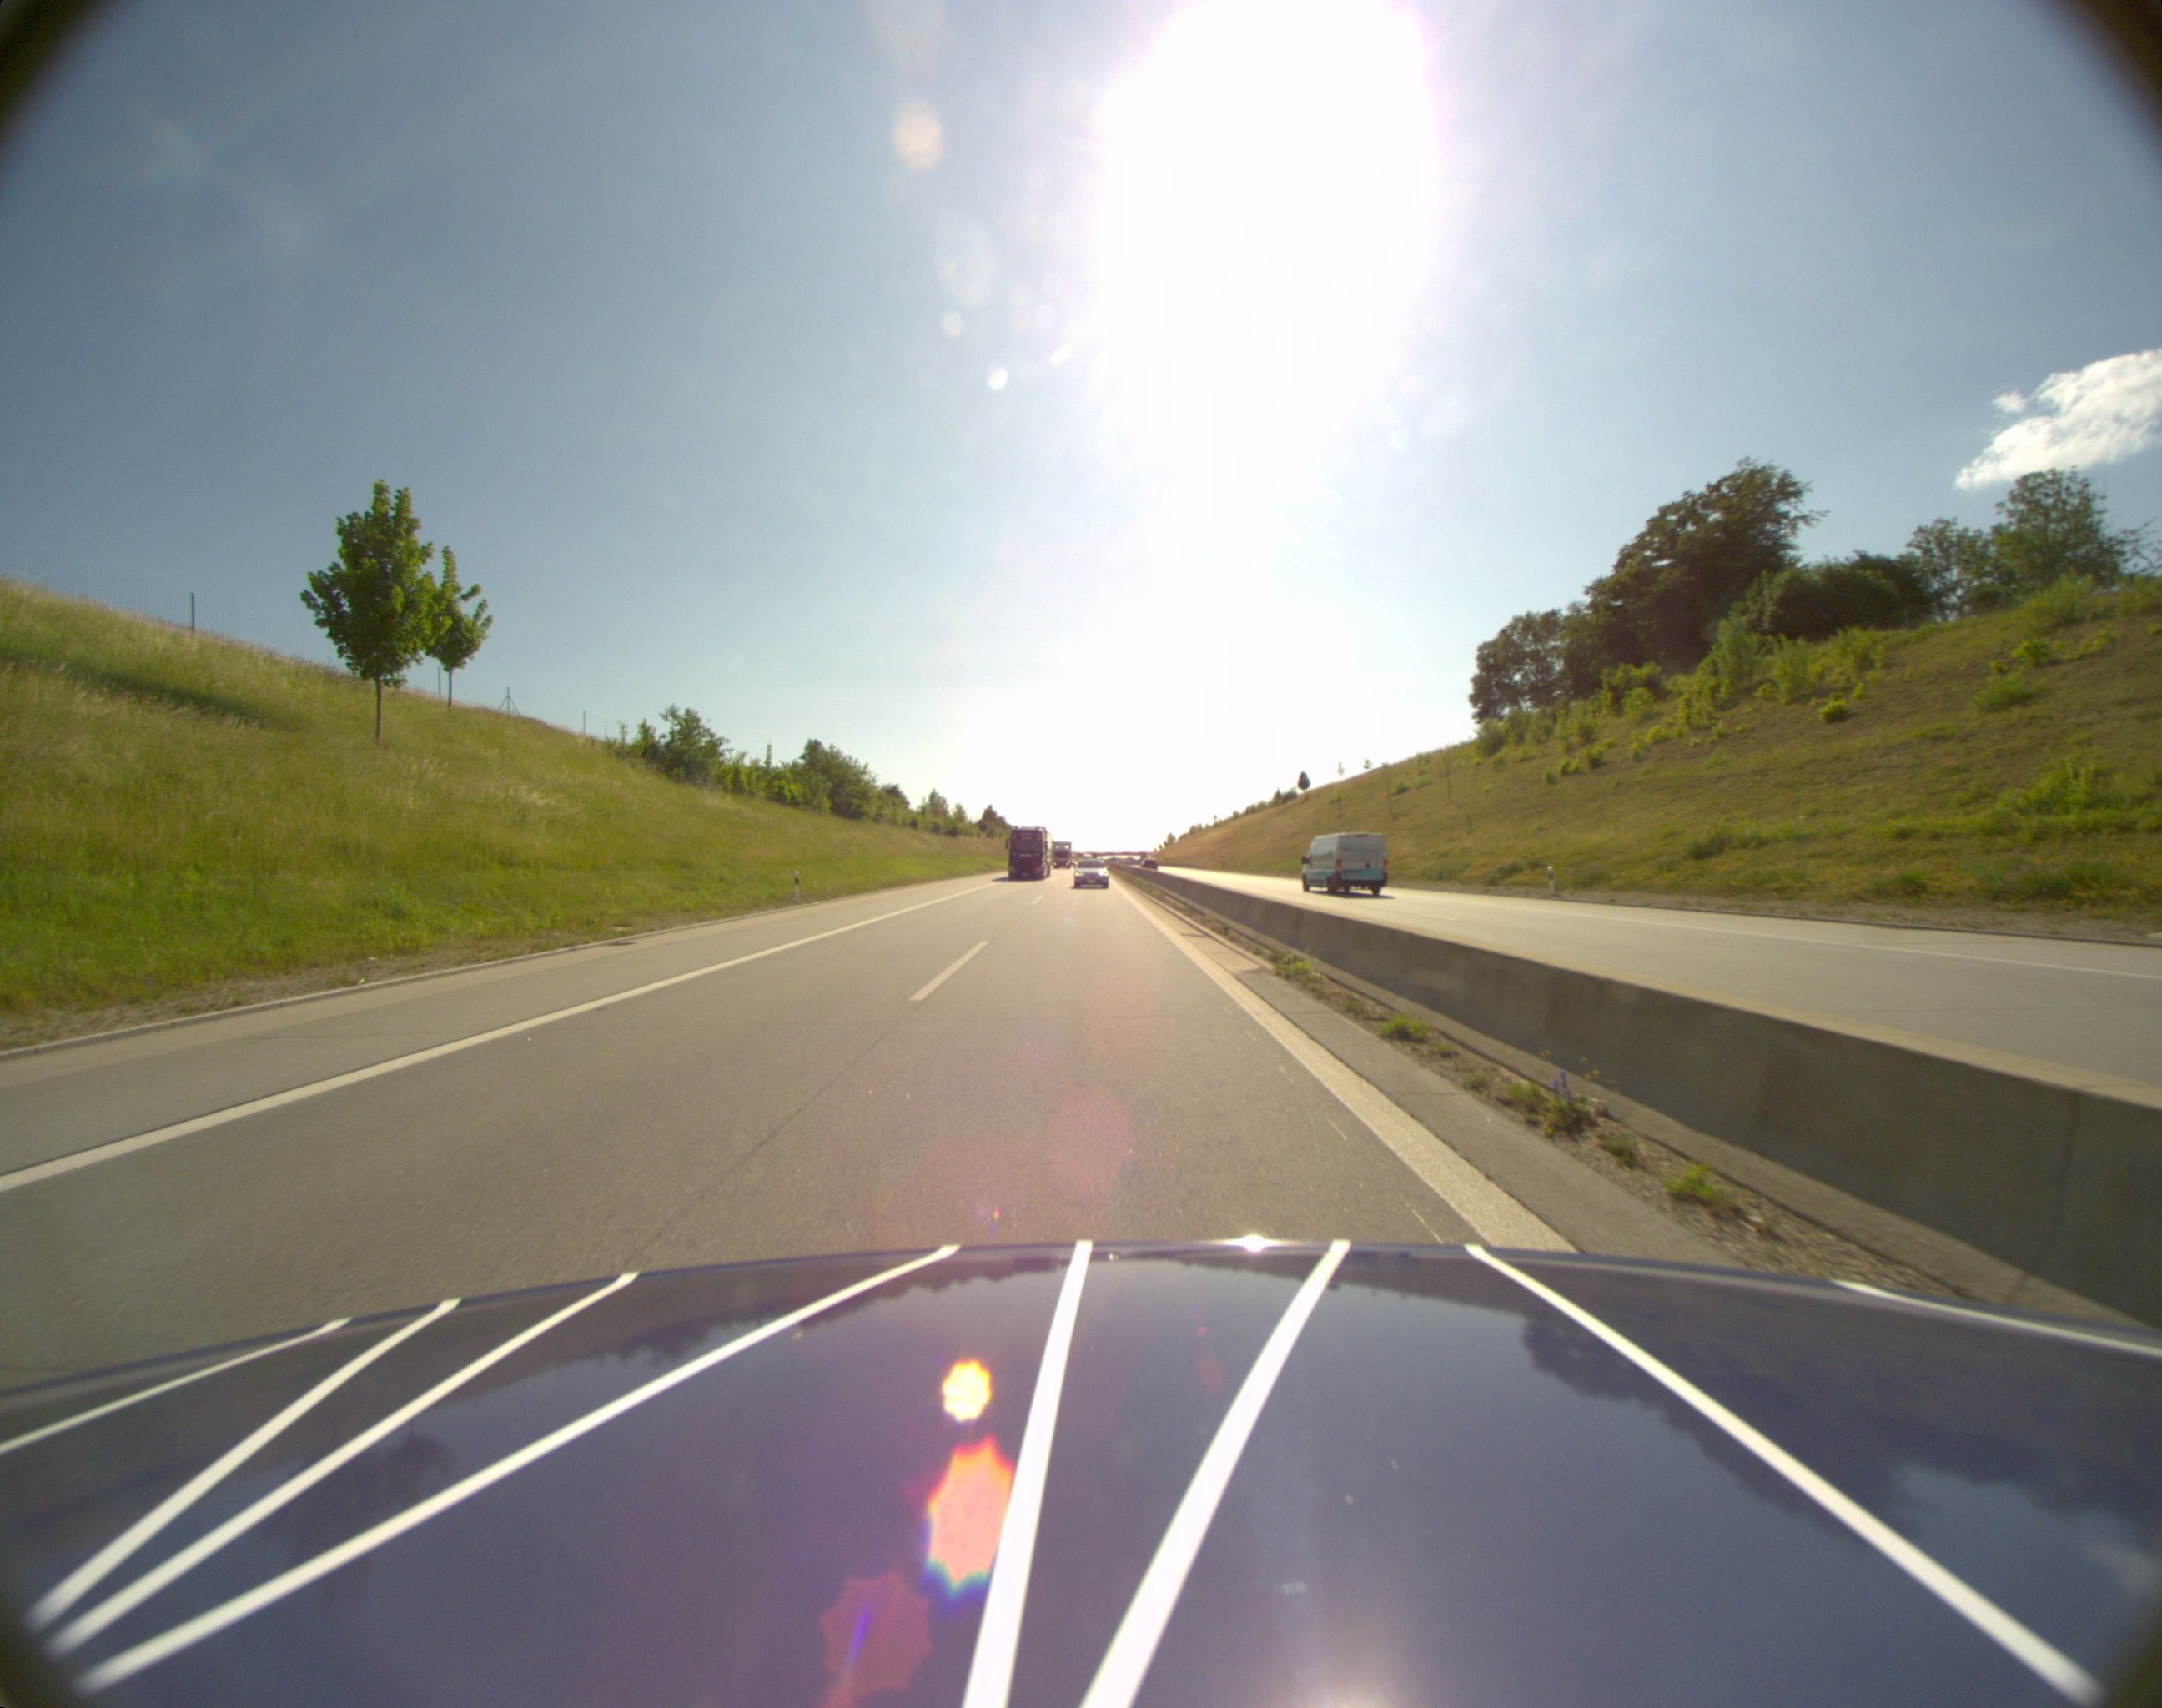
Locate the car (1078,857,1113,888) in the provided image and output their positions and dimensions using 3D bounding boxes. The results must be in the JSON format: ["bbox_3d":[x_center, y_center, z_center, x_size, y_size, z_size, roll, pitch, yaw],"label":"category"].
[{"bbox_3d":[0.810,0.963,41.034,1.795,1.501,3.636,-1,0,2],"label":"car"}]

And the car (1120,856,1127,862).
[{"bbox_3d":[11.628,1.259,207.388,1.780,1.592,4.039,0,0,1],"label":"car"}]

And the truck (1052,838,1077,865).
[{"bbox_3d":[-2.370,-0.404,115.091,3.024,3.795,13.405,0,0,2],"label":"truck"}]

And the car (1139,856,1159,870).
[{"bbox_3d":[7.370,0.997,82.705,1.778,1.440,4.183,0,0,-1],"label":"car"}]

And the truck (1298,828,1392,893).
[{"bbox_3d":[11.003,0.254,32.154,1.998,2.434,5.668,-1,0,0],"label":"truck"}]

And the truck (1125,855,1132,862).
[{"bbox_3d":[16.560,1.469,265.412,2.118,2.446,5.951,0,0,0],"label":"truck"}]

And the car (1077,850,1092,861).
[{"bbox_3d":[0.724,0.366,153.427,2.816,2.143,5.947,0,0,0],"label":"car"}]

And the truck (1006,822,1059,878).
[{"bbox_3d":[-3.518,-0.243,59.261,2.623,3.795,13.405,-2,0,2],"label":"truck"}]
